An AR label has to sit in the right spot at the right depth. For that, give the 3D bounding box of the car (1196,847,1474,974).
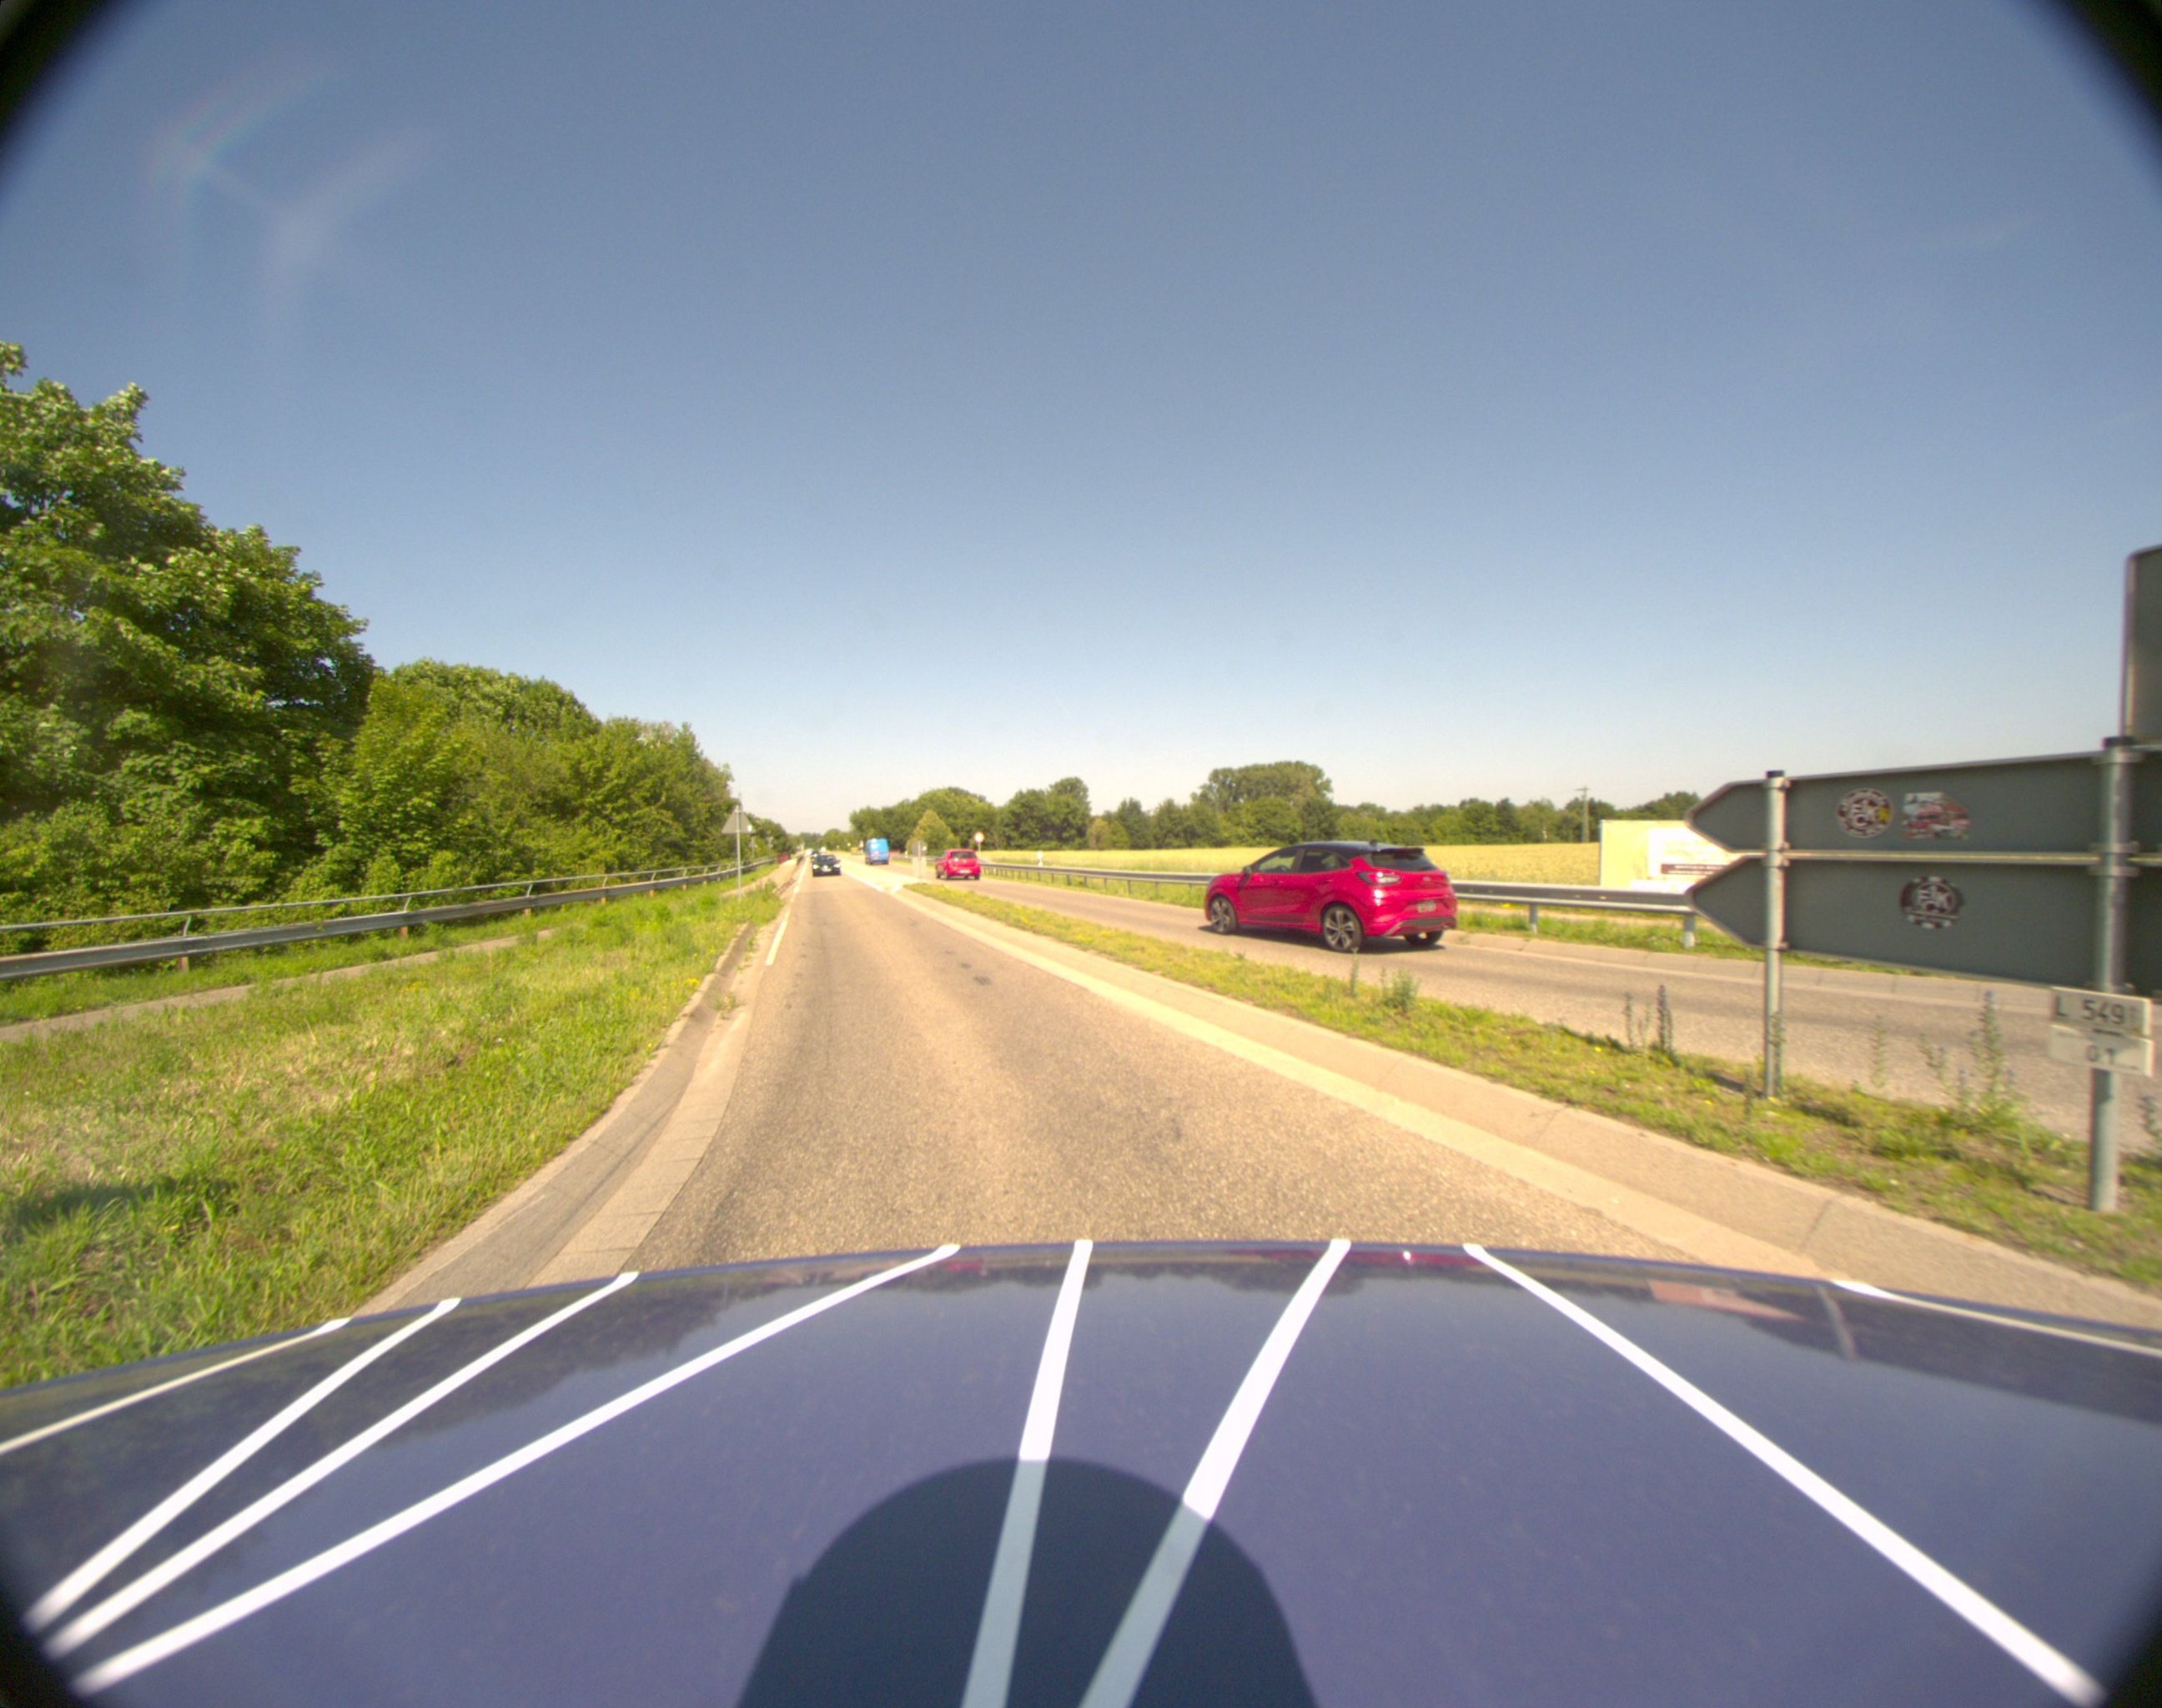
[{"bbox_3d":[3.623,0.685,11.522,1.752,1.514,3.821,-1,2,-29],"label":"car"}]

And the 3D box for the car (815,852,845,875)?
[{"bbox_3d":[-16.974,0.598,51.365,1.809,1.390,4.172,-3,2,-19],"label":"car"}]

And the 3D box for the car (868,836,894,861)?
[{"bbox_3d":[-21.299,-0.604,80.705,2.002,2.596,7.277,-1,1,-20],"label":"car"}]

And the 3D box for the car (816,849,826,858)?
[{"bbox_3d":[-47.956,-0.113,140.094,1.463,1.638,3.530,-3,1,-19],"label":"car"}]

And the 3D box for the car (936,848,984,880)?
[{"bbox_3d":[-6.158,0.465,38.230,1.634,1.482,3.795,-1,1,-21],"label":"car"}]
